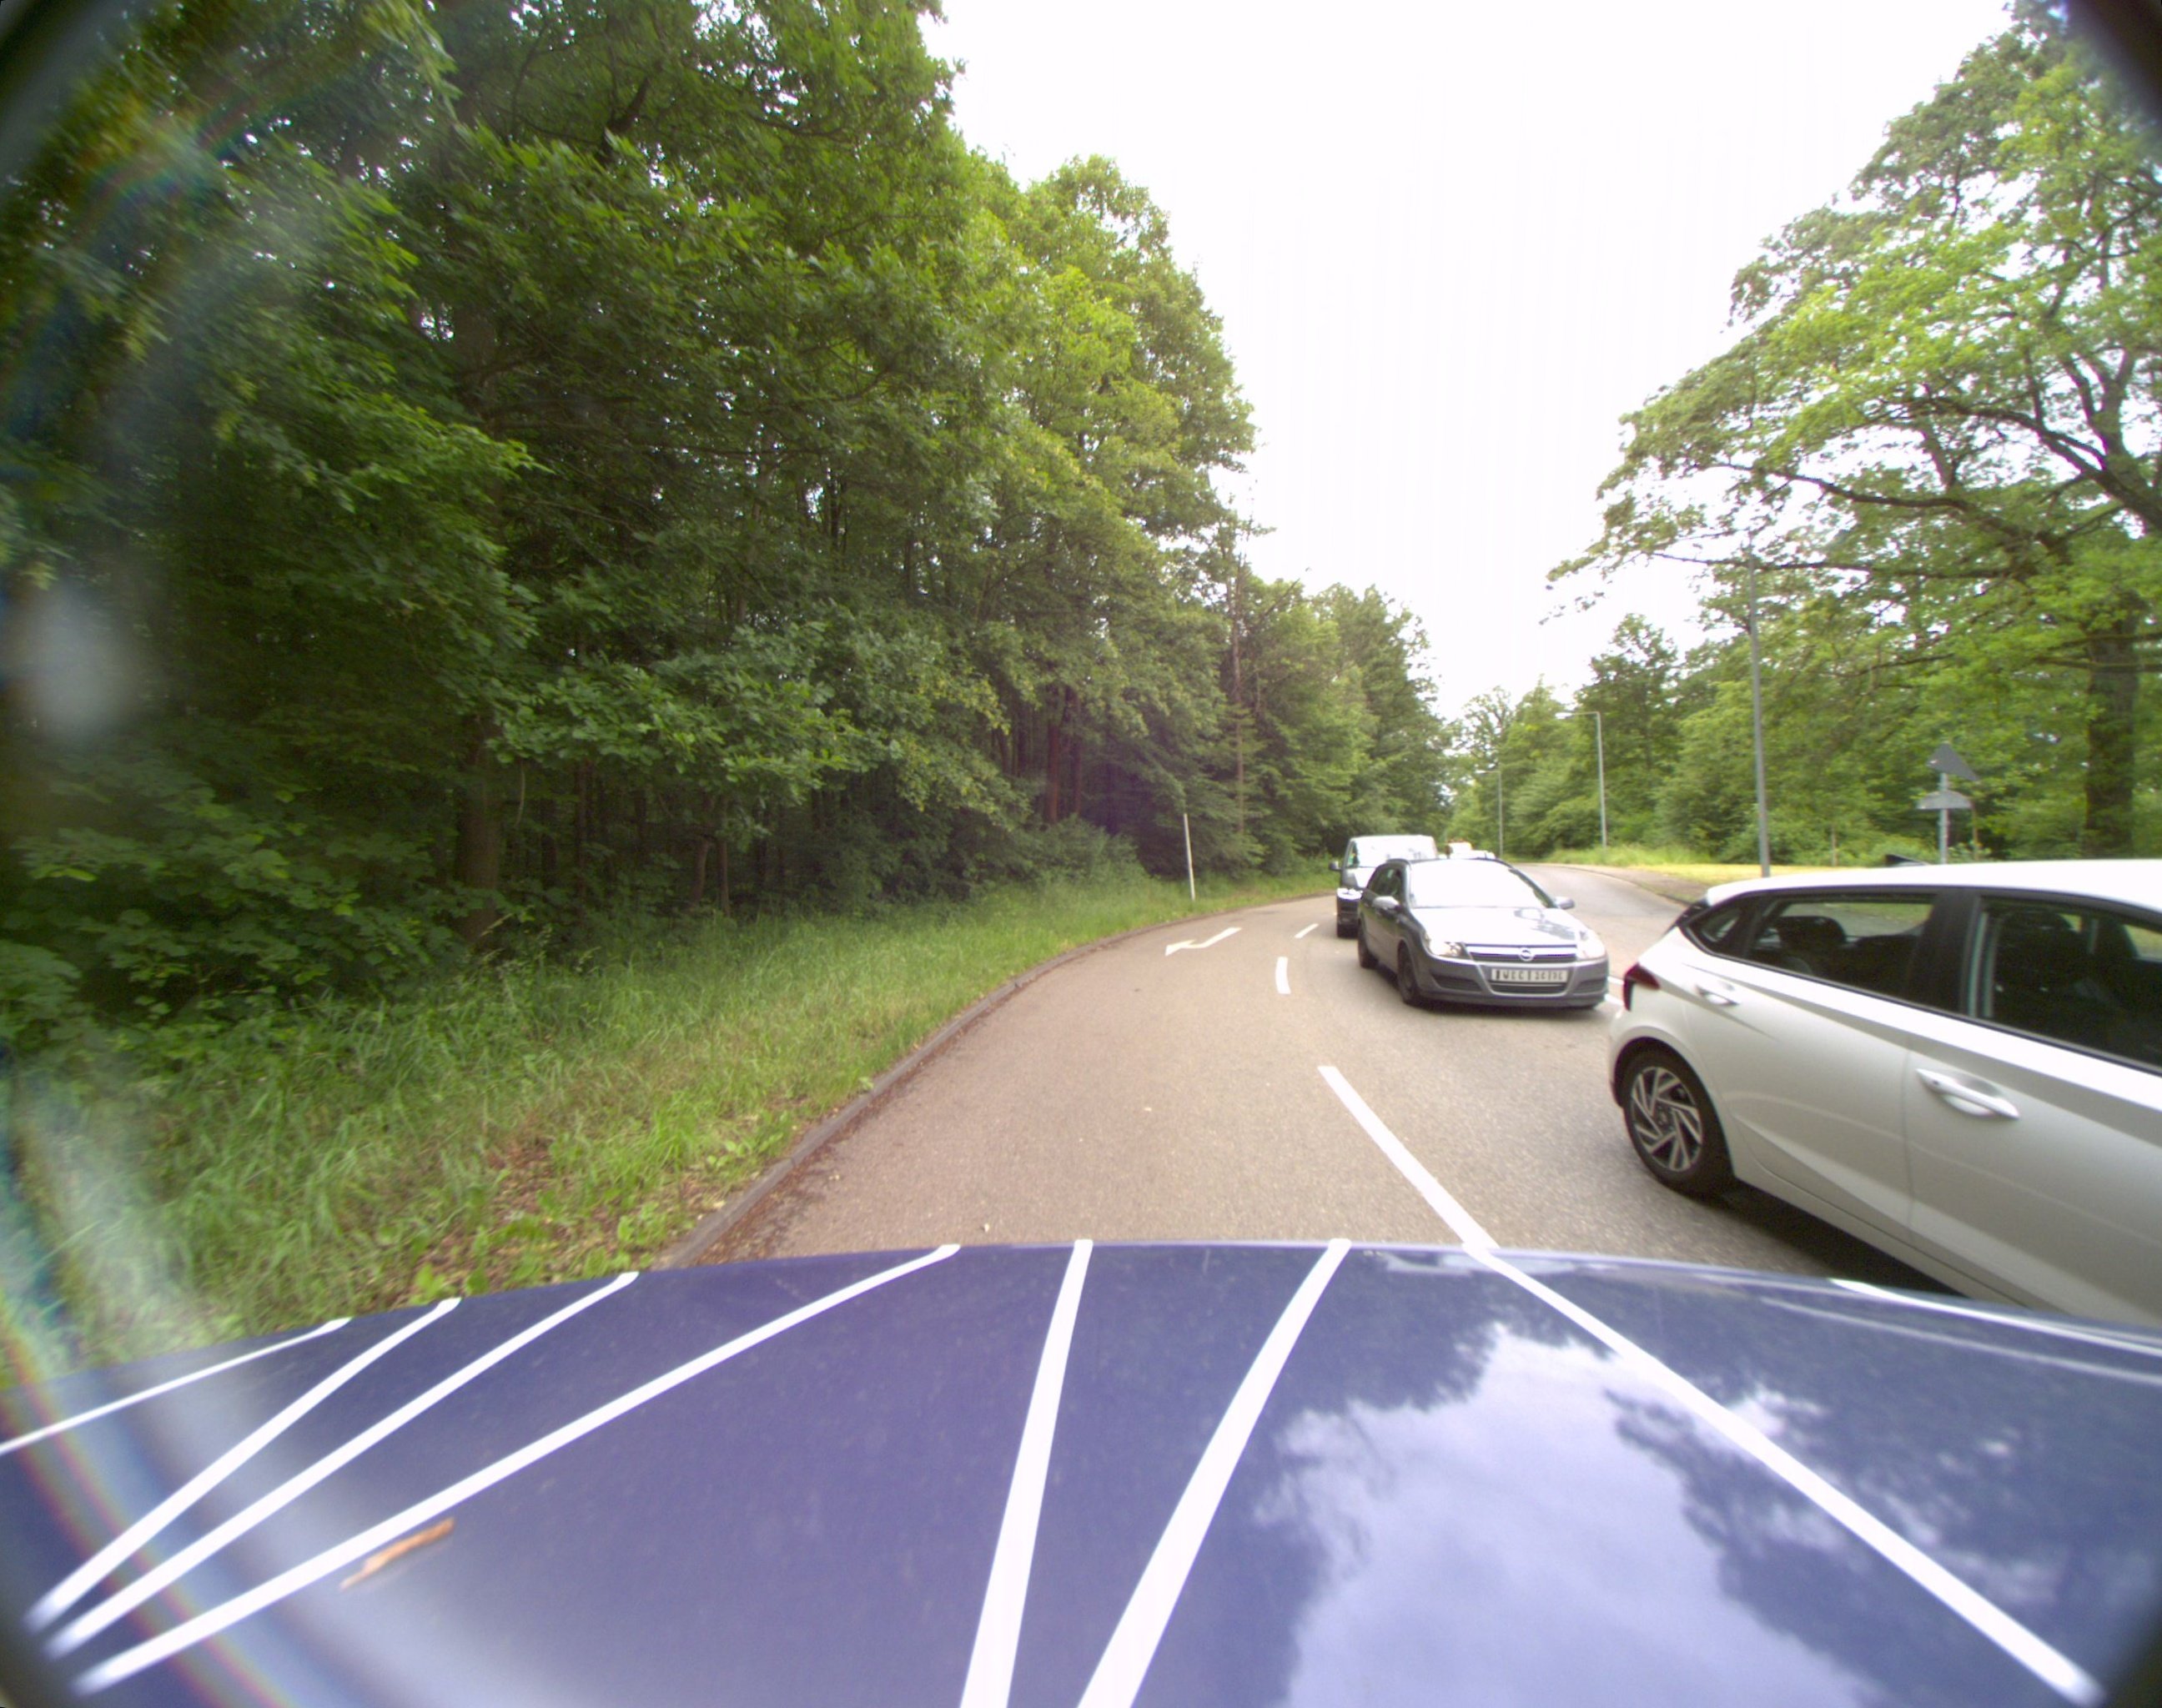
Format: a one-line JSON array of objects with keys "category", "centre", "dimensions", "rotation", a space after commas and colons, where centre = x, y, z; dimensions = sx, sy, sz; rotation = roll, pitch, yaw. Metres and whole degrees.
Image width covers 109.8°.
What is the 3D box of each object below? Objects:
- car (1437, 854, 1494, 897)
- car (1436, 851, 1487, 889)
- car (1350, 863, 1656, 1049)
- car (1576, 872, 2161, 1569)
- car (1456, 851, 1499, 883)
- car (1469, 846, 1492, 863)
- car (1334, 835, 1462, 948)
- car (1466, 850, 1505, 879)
[{"category": "car", "centre": [14.219, 0.752, 28.148], "dimensions": [1.775, 1.491, 3.880], "rotation": [-1, 0, 27]}, {"category": "car", "centre": [16.009, 0.625, 31.994], "dimensions": [1.775, 1.491, 3.880], "rotation": [-1, 0, 27]}, {"category": "car", "centre": [4.282, 0.877, 8.571], "dimensions": [1.801, 1.470, 4.475], "rotation": [-1, 0, 12]}, {"category": "car", "centre": [3.216, 0.832, 1.805], "dimensions": [1.653, 1.470, 4.074], "rotation": [-1, 0, 4]}, {"category": "car", "centre": [19.453, 0.596, 37.361], "dimensions": [1.775, 1.491, 3.880], "rotation": [-1, 0, 27]}, {"category": "car", "centre": [36.208, 0.068, 68.821], "dimensions": [1.775, 1.491, 3.880], "rotation": [-1, 0, 30]}, {"category": "car", "centre": [6.221, 0.638, 15.025], "dimensions": [1.987, 1.861, 4.539], "rotation": [-1, 0, 22]}, {"category": "car", "centre": [22.204, 0.570, 41.769], "dimensions": [1.775, 1.491, 3.880], "rotation": [-1, 0, 27]}]
